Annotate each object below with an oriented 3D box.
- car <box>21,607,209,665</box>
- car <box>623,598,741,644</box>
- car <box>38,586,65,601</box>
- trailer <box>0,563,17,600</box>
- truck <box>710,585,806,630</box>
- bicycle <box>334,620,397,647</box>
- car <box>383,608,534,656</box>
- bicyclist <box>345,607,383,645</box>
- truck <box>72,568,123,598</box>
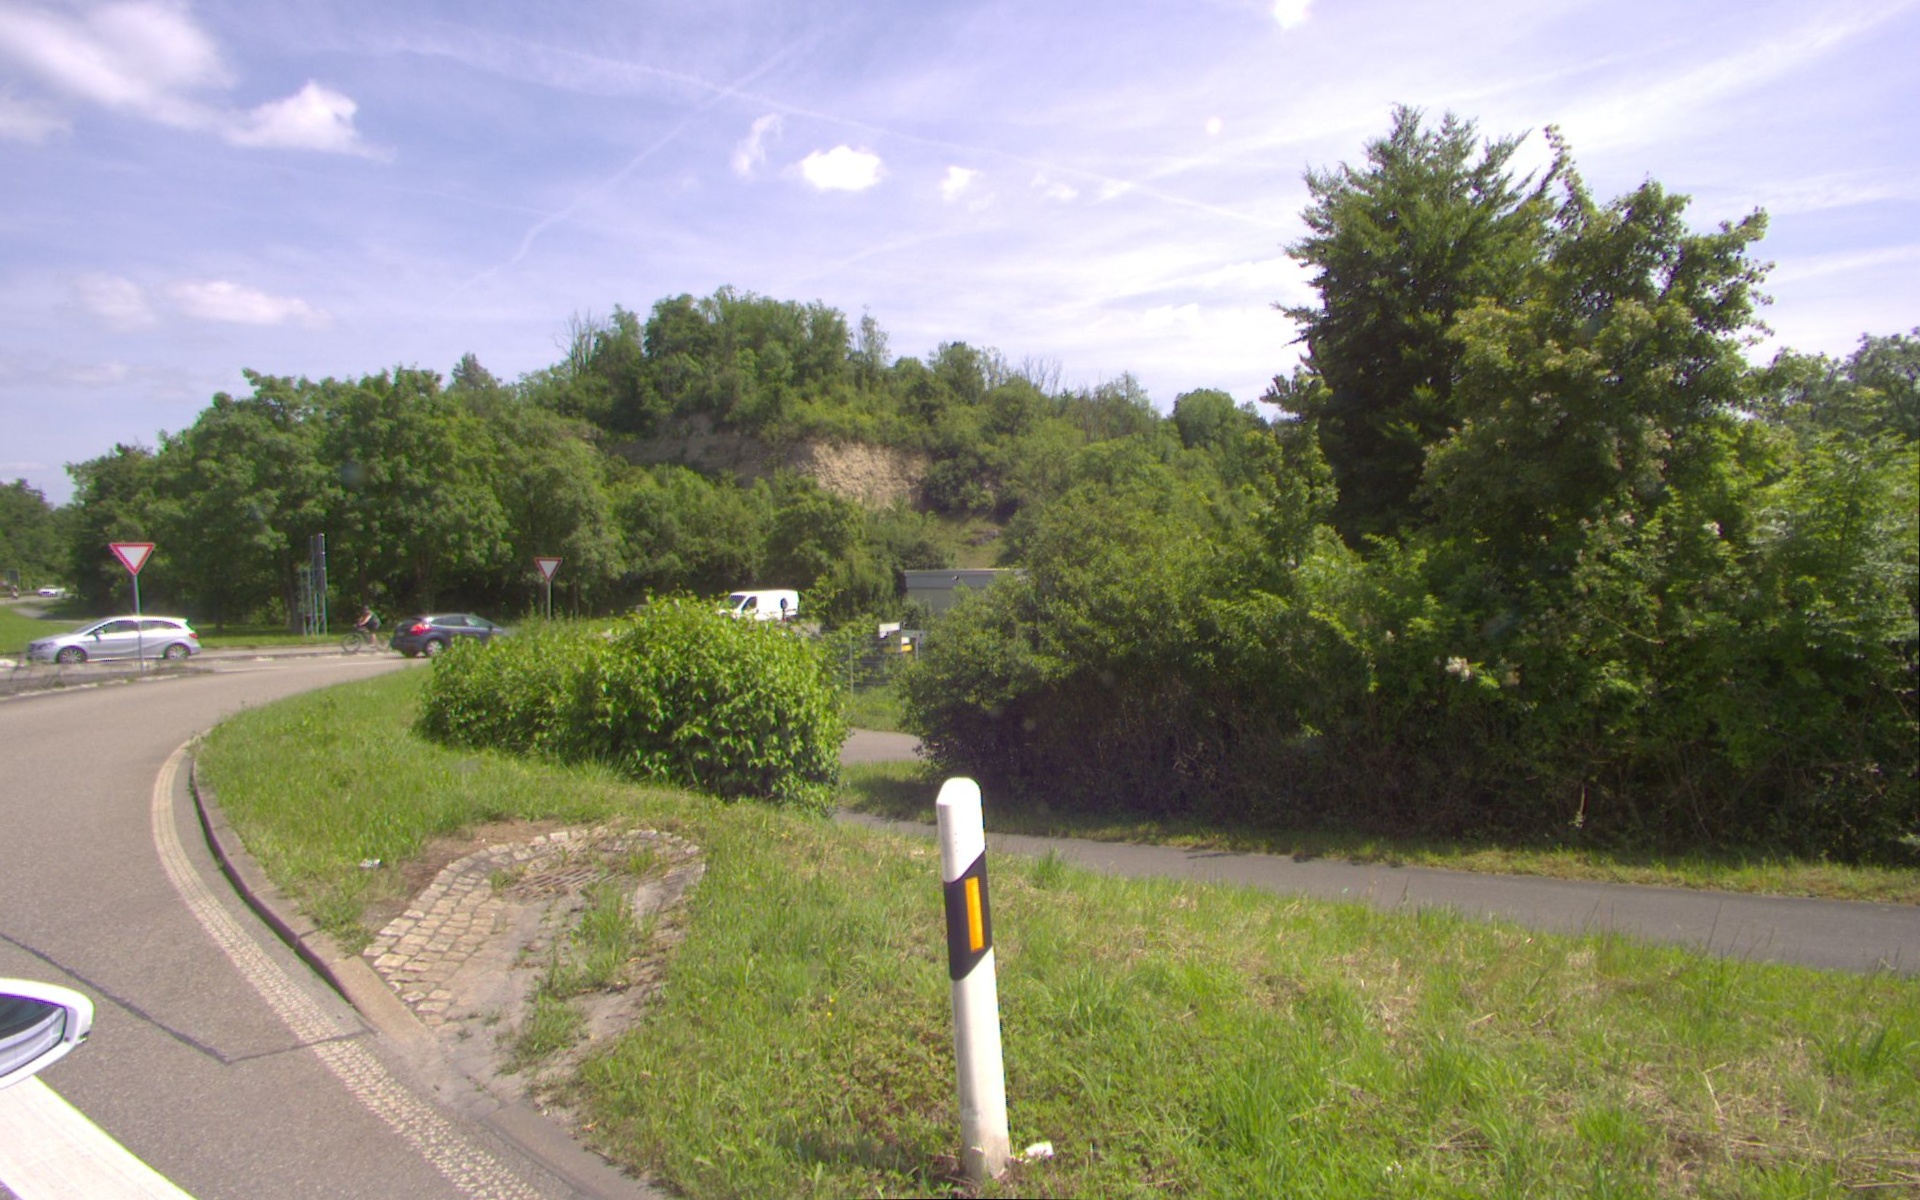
[{"bbox_3d":[-27.658,1.172,32.897,1.975,1.740,4.413,-3,-3,37],"label":"car"},{"bbox_3d":[-12.000,0.933,43.537,1.972,1.807,4.918,-3,-3,32],"label":"car"},{"bbox_3d":[-125.152,-0.846,137.977,1.972,2.040,3.977,0,-1,-31],"label":"car"},{"bbox_3d":[-113.370,-2.191,112.769,4.952,4.420,20.740,0,0,-27],"label":"trailer"},{"bbox_3d":[-11.332,0.449,56.387,1.978,2.324,5.120,-3,-3,41],"label":"truck"},{"bbox_3d":[-23.327,1.323,39.317,0.785,1.008,1.987,-3,-2,29],"label":"bicycle"},{"bbox_3d":[-17.183,1.089,34.459,1.975,1.509,4.230,-3,-3,36],"label":"car"},{"bbox_3d":[-23.354,1.020,39.247,0.784,1.466,1.004,-2,-2,30],"label":"bicyclist"},{"bbox_3d":[-123.153,-2.406,143.173,3.142,4.083,11.684,-1,1,-29],"label":"truck"}]
